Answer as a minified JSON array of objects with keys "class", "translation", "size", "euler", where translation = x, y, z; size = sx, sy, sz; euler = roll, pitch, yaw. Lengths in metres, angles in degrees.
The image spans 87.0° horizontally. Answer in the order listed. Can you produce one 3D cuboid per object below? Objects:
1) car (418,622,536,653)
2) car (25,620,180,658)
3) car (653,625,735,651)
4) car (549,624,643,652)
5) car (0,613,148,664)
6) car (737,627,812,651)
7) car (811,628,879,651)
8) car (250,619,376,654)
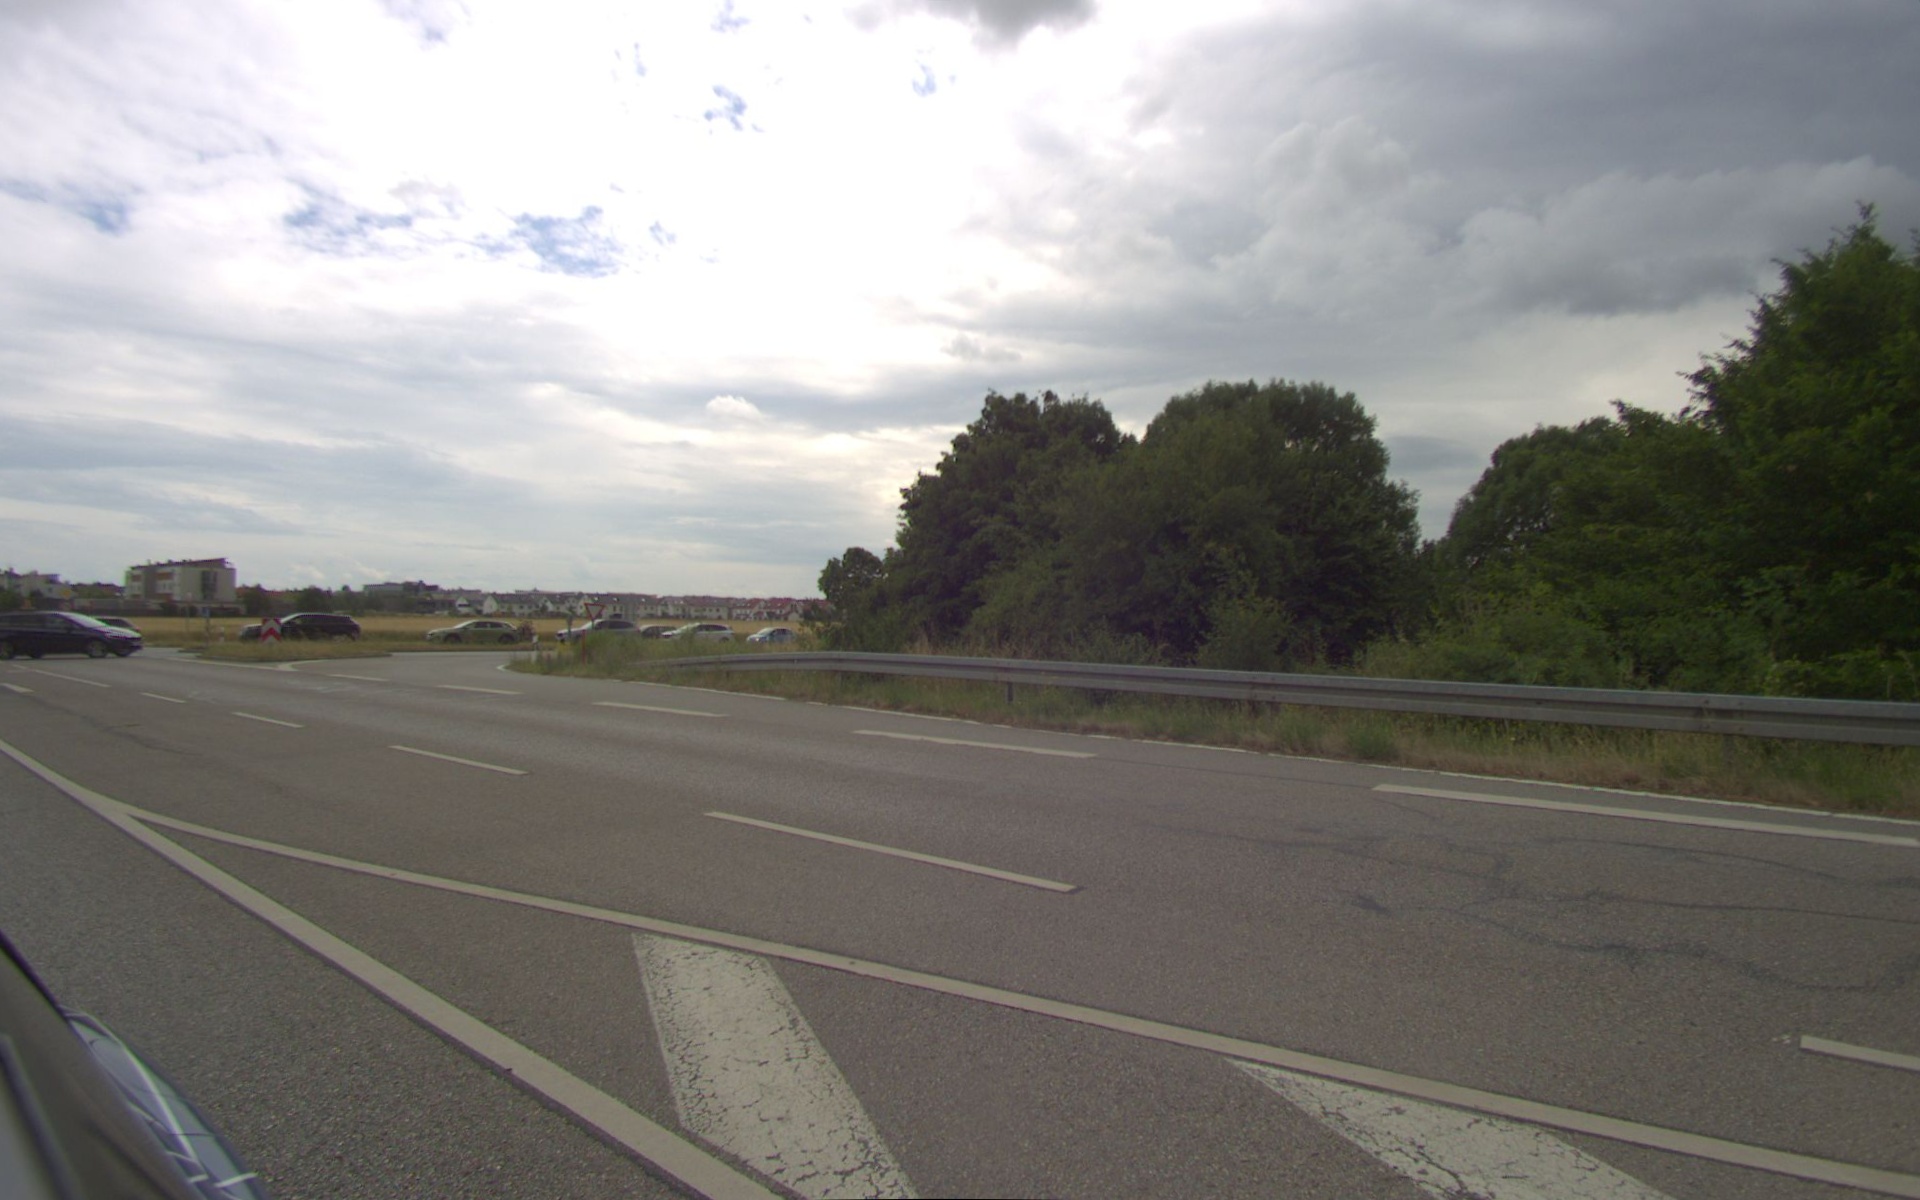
[{"class":"car","translation":[-25.023,1.937,52.571],"size":[5.222,1.533,1.913],"euler":[2,-2,-43]},{"class":"car","translation":[-34.486,1.536,40.810],"size":[1.905,1.435,4.415],"euler":[-1,-2,33]},{"class":"car","translation":[-16.010,2.286,60.996],"size":[4.437,1.493,1.913],"euler":[2,-2,-43]},{"class":"car","translation":[-20.482,2.118,57.063],"size":[4.568,1.528,1.913],"euler":[2,-2,-43]},{"class":"car","translation":[-31.373,1.334,35.346],"size":[4.407,1.623,1.712],"euler":[-1,0,-13]},{"class":"car","translation":[-11.972,2.480,65.386],"size":[4.437,1.493,1.913],"euler":[2,-2,-43]},{"class":"car","translation":[-7.863,2.671,69.589],"size":[1.912,1.493,4.441],"euler":[-1,-2,44]},{"class":"car","translation":[-30.174,1.689,47.310],"size":[4.683,1.543,1.913],"euler":[2,-2,-43]}]
